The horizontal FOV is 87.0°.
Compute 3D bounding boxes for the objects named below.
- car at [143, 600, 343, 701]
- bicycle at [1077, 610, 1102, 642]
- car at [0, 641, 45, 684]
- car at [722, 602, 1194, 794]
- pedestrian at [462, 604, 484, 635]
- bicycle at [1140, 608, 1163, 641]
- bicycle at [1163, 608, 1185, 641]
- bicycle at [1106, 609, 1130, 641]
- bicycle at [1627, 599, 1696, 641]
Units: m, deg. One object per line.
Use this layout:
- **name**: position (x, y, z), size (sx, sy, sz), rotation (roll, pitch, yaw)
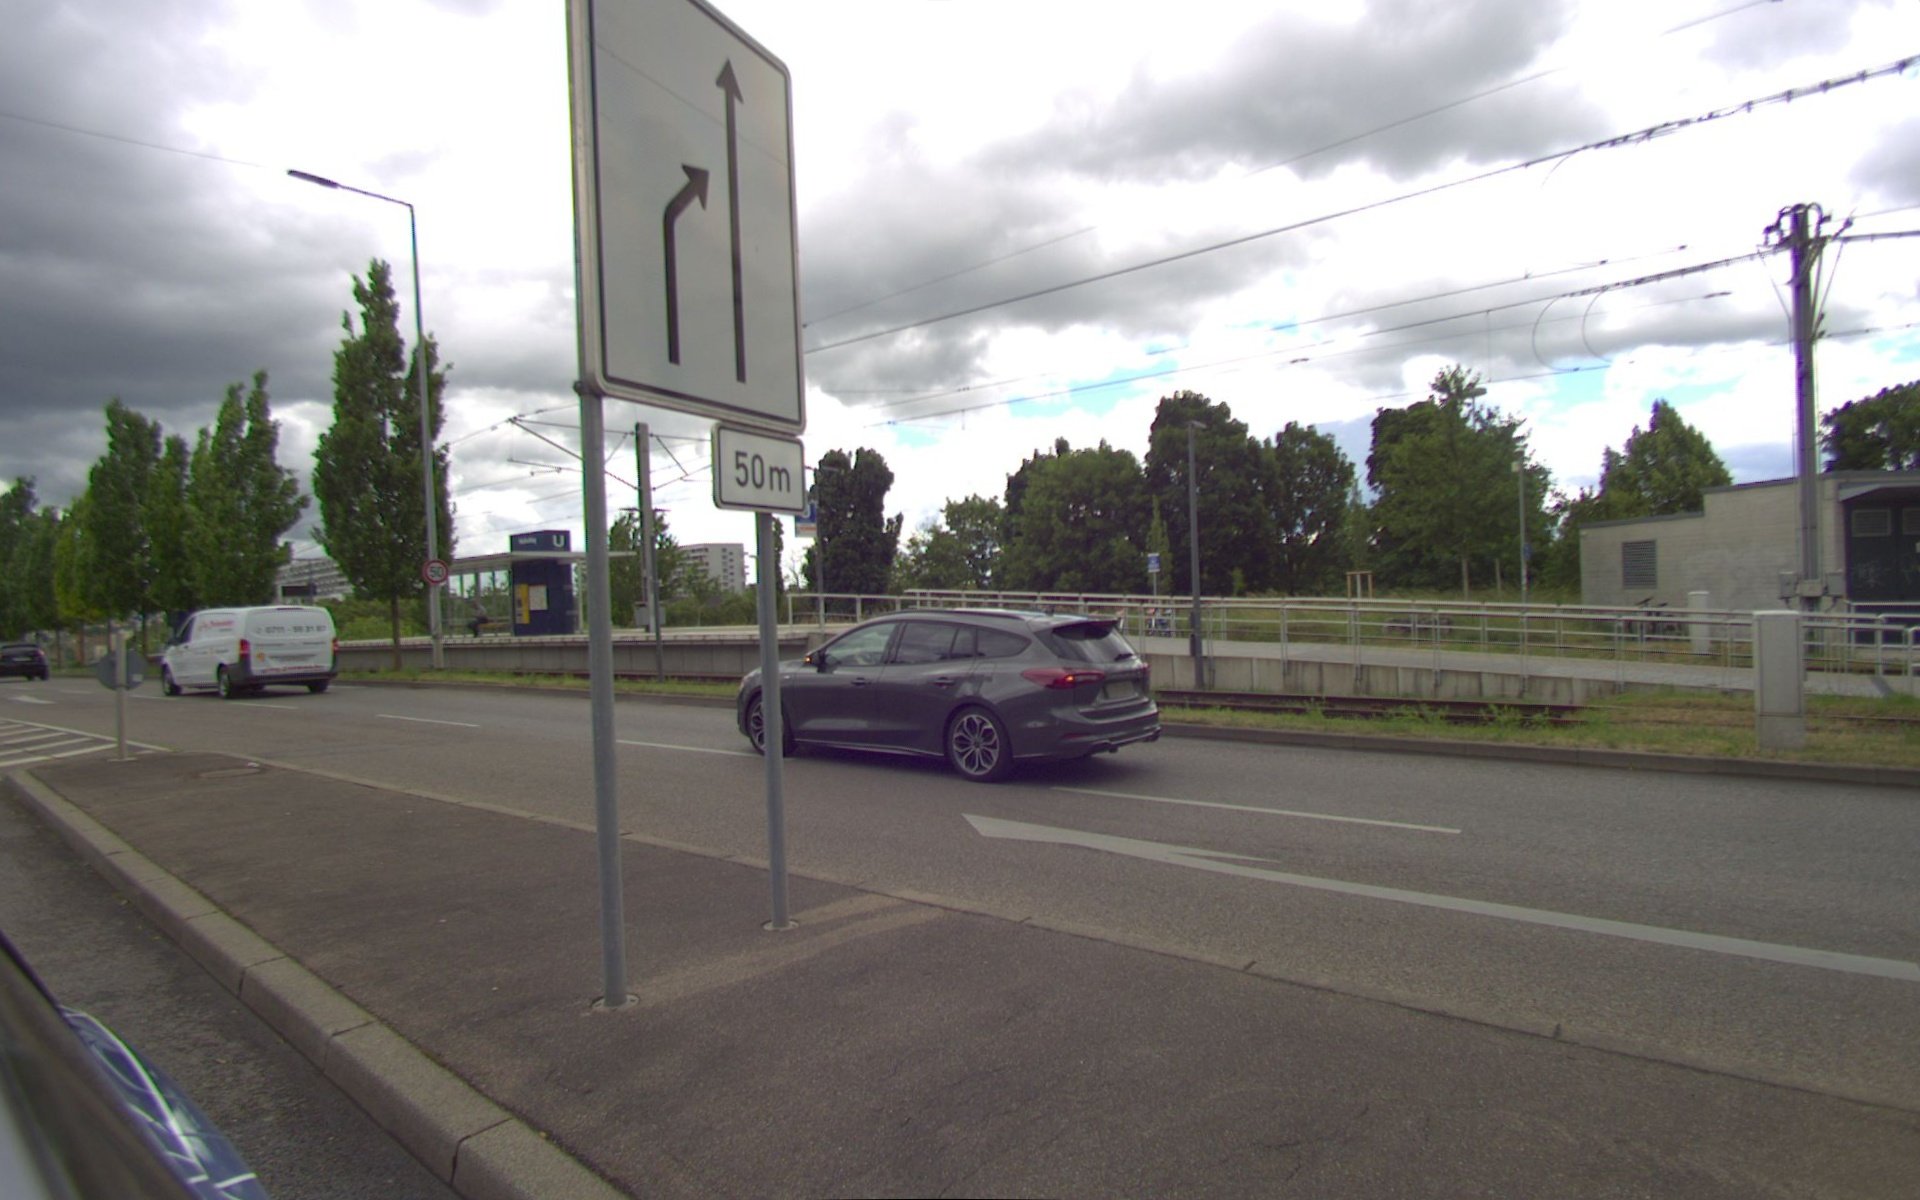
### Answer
- **car**: position (-15.774, 1.013, 22.152), size (5.361, 1.979, 1.899), rotation (-1, 0, 35)
- **bicycle**: position (4.474, 0.878, 34.880), size (0.531, 1.039, 1.804), rotation (-1, 0, 16)
- **car**: position (-35.536, 2.301, 37.725), size (3.658, 1.460, 1.678), rotation (-2, -1, 41)
- **car**: position (-0.183, 0.763, 9.822), size (4.429, 1.435, 1.852), rotation (-1, 0, 40)
- **pedestrian**: position (-18.252, 0.720, 37.926), size (0.447, 1.163, 0.593), rotation (-1, 0, 41)
- **bicycle**: position (6.440, 0.818, 33.992), size (0.531, 1.039, 1.804), rotation (-1, 0, 16)
- **bicycle**: position (7.155, 0.801, 33.808), size (0.531, 1.039, 1.804), rotation (-1, 0, 16)
- **bicycle**: position (5.383, 0.846, 34.445), size (0.531, 1.039, 1.804), rotation (-1, 0, 16)
- **bicycle**: position (18.067, 0.505, 26.109), size (0.529, 1.039, 1.813), rotation (-1, 0, 1)
